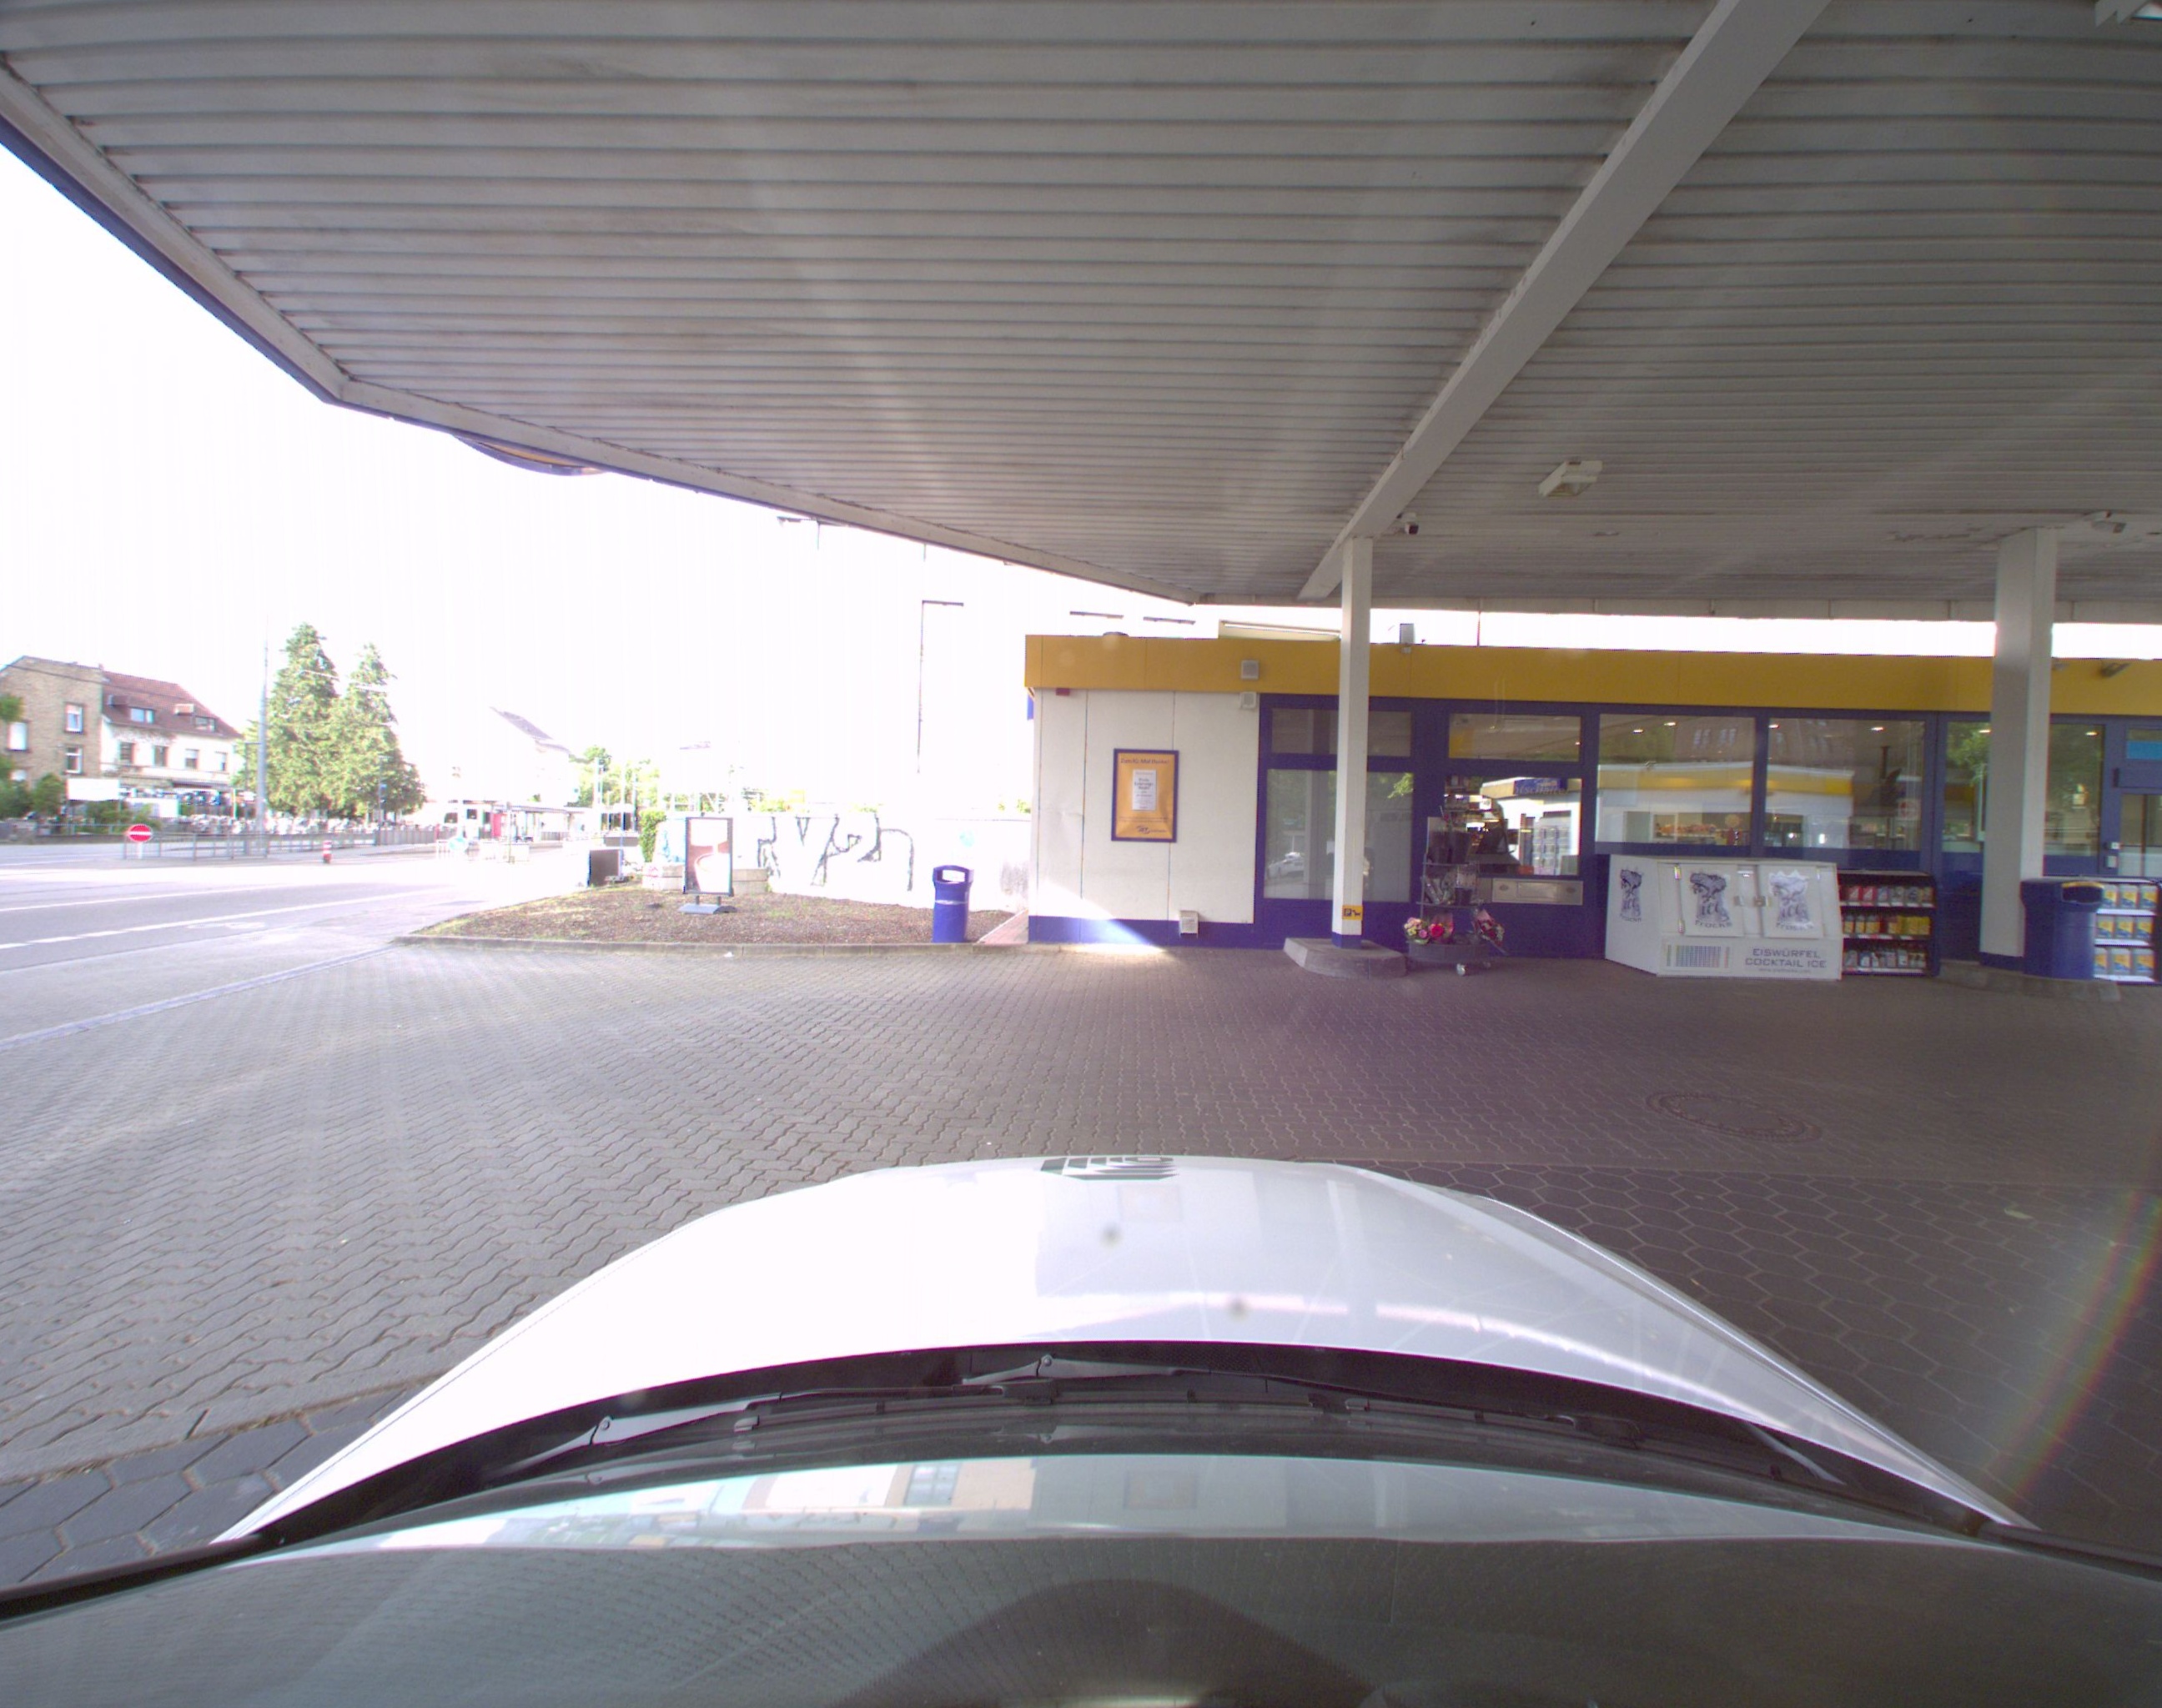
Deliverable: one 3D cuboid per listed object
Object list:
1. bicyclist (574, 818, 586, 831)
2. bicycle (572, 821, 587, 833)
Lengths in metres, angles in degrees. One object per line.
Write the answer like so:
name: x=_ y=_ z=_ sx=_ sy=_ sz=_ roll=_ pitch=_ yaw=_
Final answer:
bicyclist: x=-56.764 y=-3.337 z=92.327 sx=0.750 sy=1.409 sz=0.917 roll=8 pitch=-1 yaw=-12
bicycle: x=-56.780 y=-3.025 z=92.258 sx=0.750 sy=1.203 sz=1.814 roll=9 pitch=-1 yaw=-12
